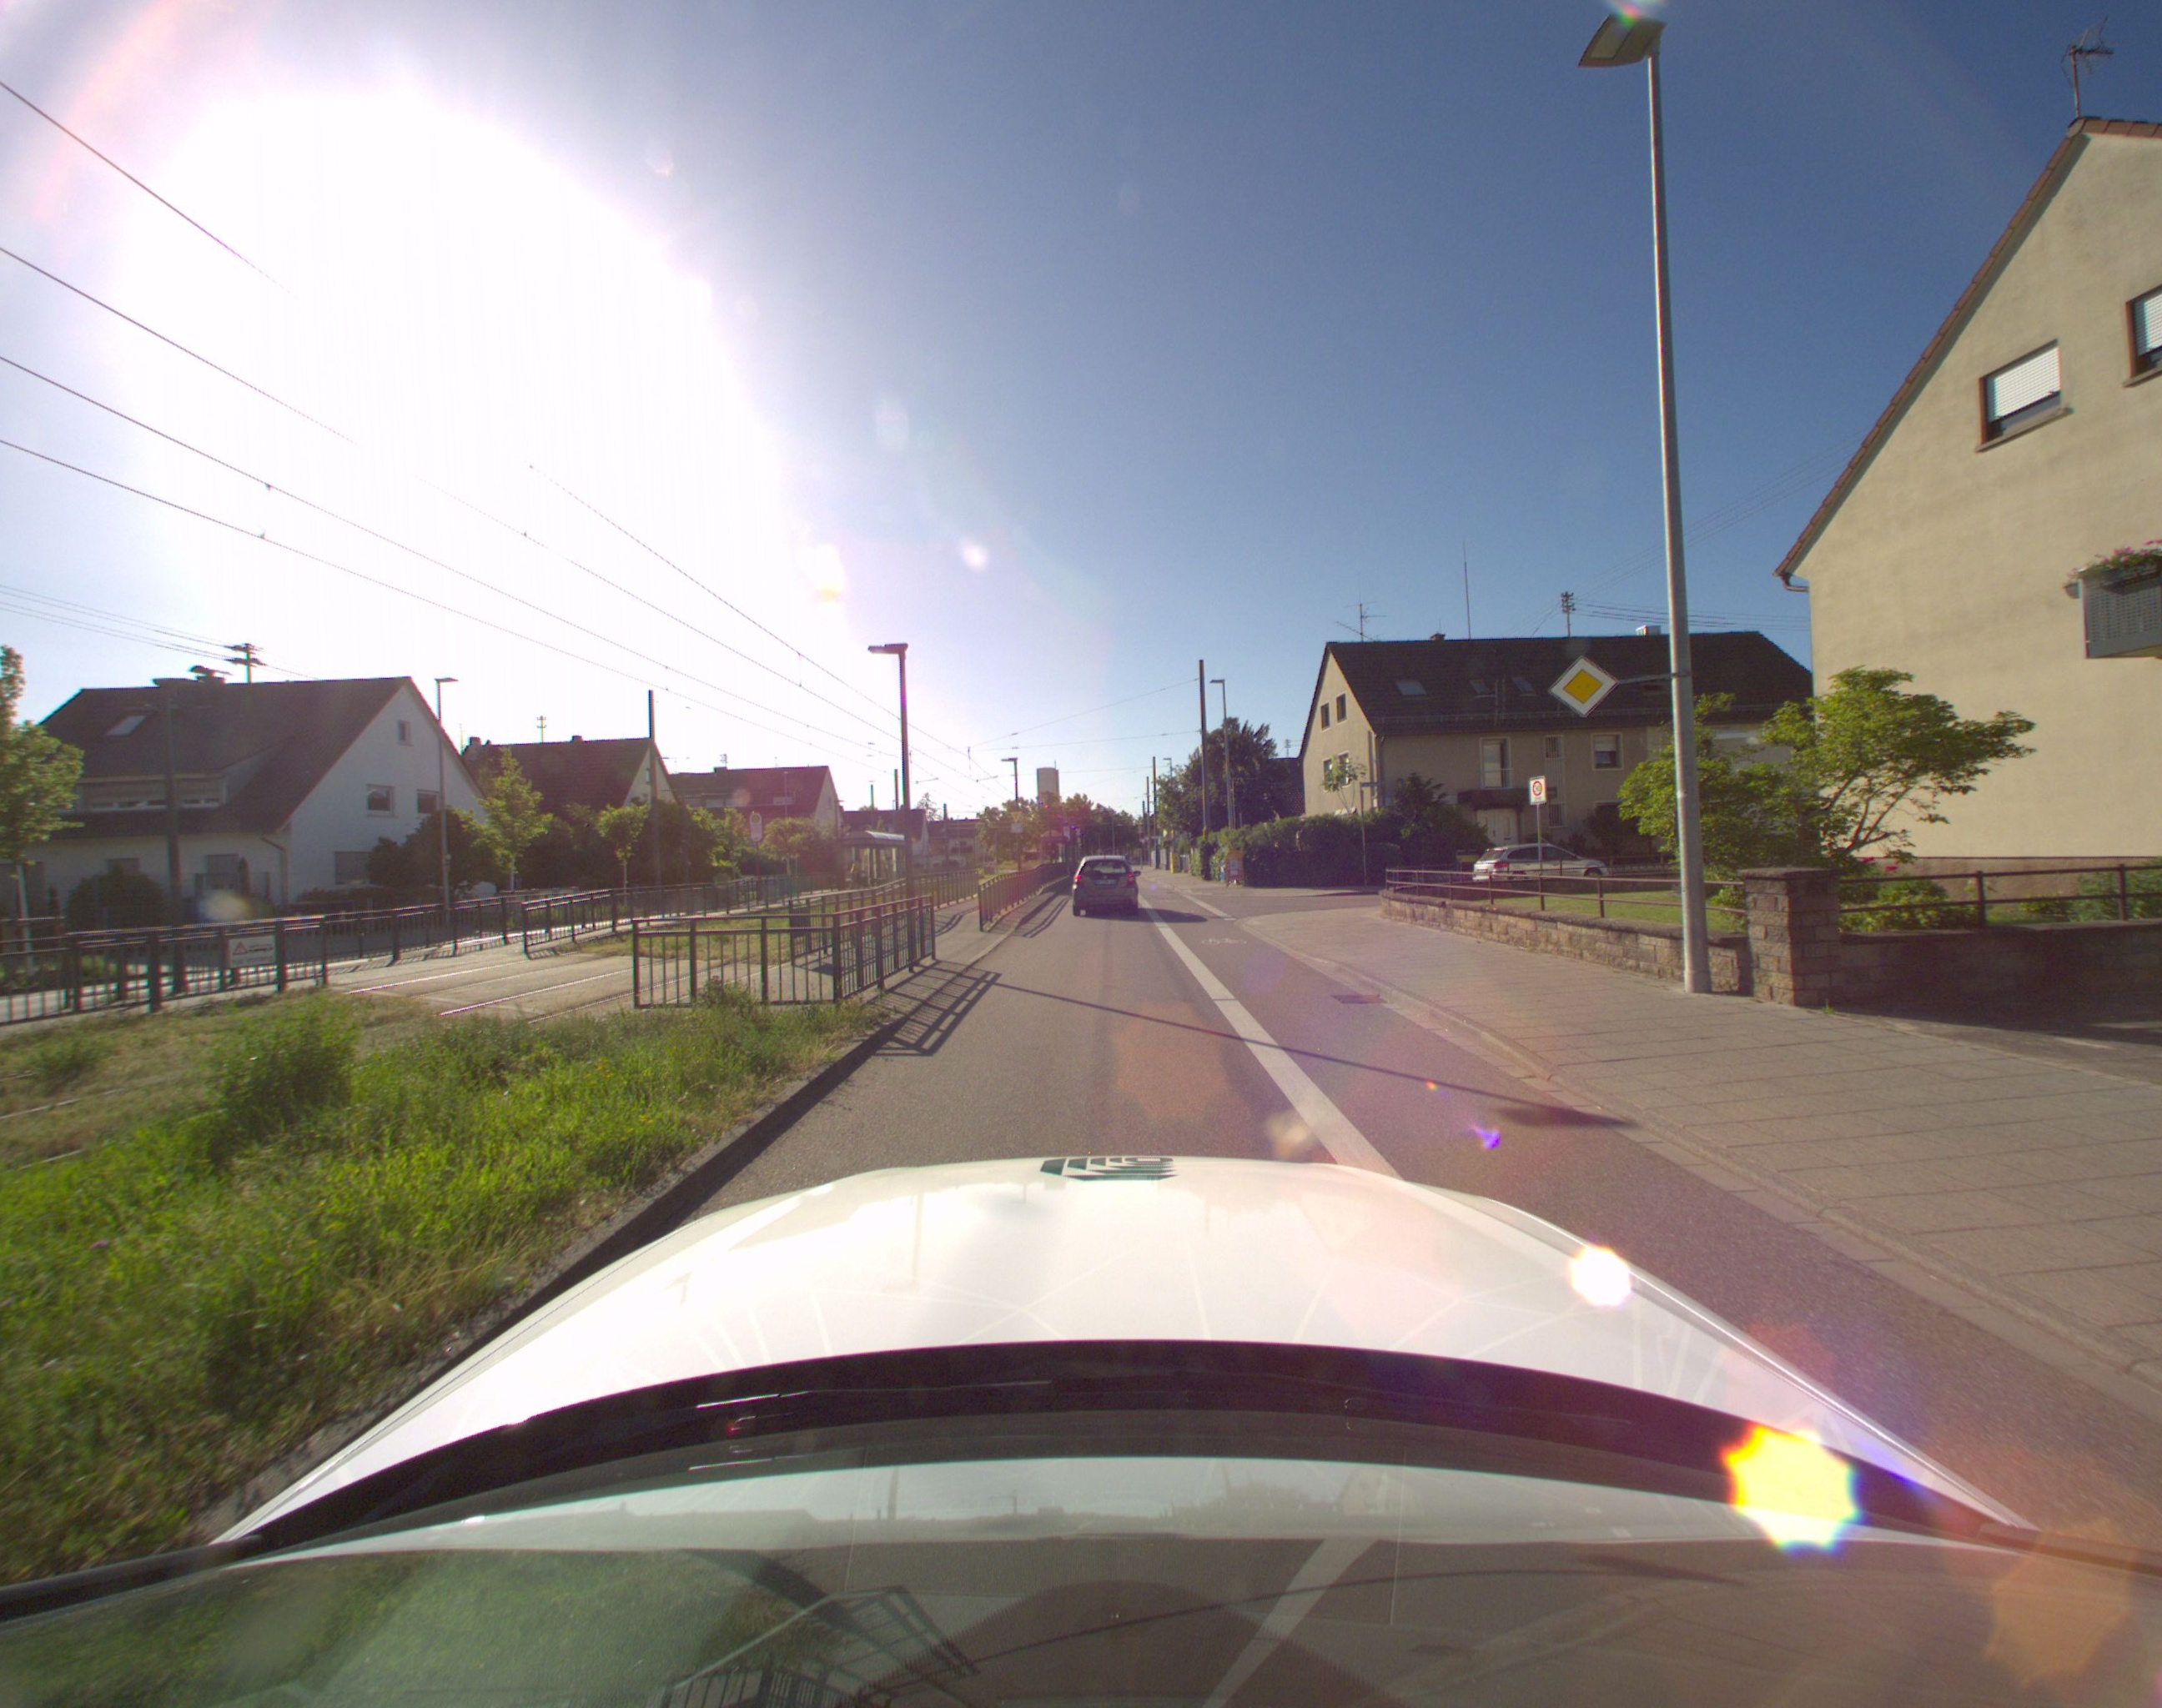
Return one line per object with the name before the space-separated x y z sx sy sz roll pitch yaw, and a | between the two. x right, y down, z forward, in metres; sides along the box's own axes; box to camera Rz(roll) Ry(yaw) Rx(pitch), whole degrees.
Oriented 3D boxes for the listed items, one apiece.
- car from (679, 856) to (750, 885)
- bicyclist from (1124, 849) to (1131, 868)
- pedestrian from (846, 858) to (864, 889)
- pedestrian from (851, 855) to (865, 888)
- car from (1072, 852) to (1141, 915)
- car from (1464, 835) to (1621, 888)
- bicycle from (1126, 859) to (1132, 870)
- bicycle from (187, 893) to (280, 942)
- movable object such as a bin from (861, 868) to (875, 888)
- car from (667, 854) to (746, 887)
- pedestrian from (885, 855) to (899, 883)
car | -24.101 1.064 53.644 3.839 1.806 1.796 -1 -1 -6
bicyclist | 4.024 0.395 70.537 0.596 1.701 0.684 -1 -1 2
pedestrian | -11.519 0.979 41.574 0.673 1.535 0.748 -2 0 -3
pedestrian | -11.825 0.925 43.159 0.518 1.708 0.580 -2 0 -3
car | 0.659 0.745 21.769 1.664 1.536 3.487 -1 -1 1
car | 15.132 0.255 26.827 4.131 1.511 1.799 -3 -2 -4
bicycle | 4.182 0.911 70.848 0.473 0.961 1.657 -1 -1 2
bicycle | -26.389 1.972 25.389 1.985 1.365 0.703 -2 -1 -6
movable object such as a bin | -10.897 1.222 41.670 0.545 0.988 0.741 -2 0 -2
car | -23.184 1.019 50.566 3.982 1.970 1.929 -1 -1 -6
pedestrian | -11.671 0.942 50.367 0.498 1.696 0.771 -5 0 2
